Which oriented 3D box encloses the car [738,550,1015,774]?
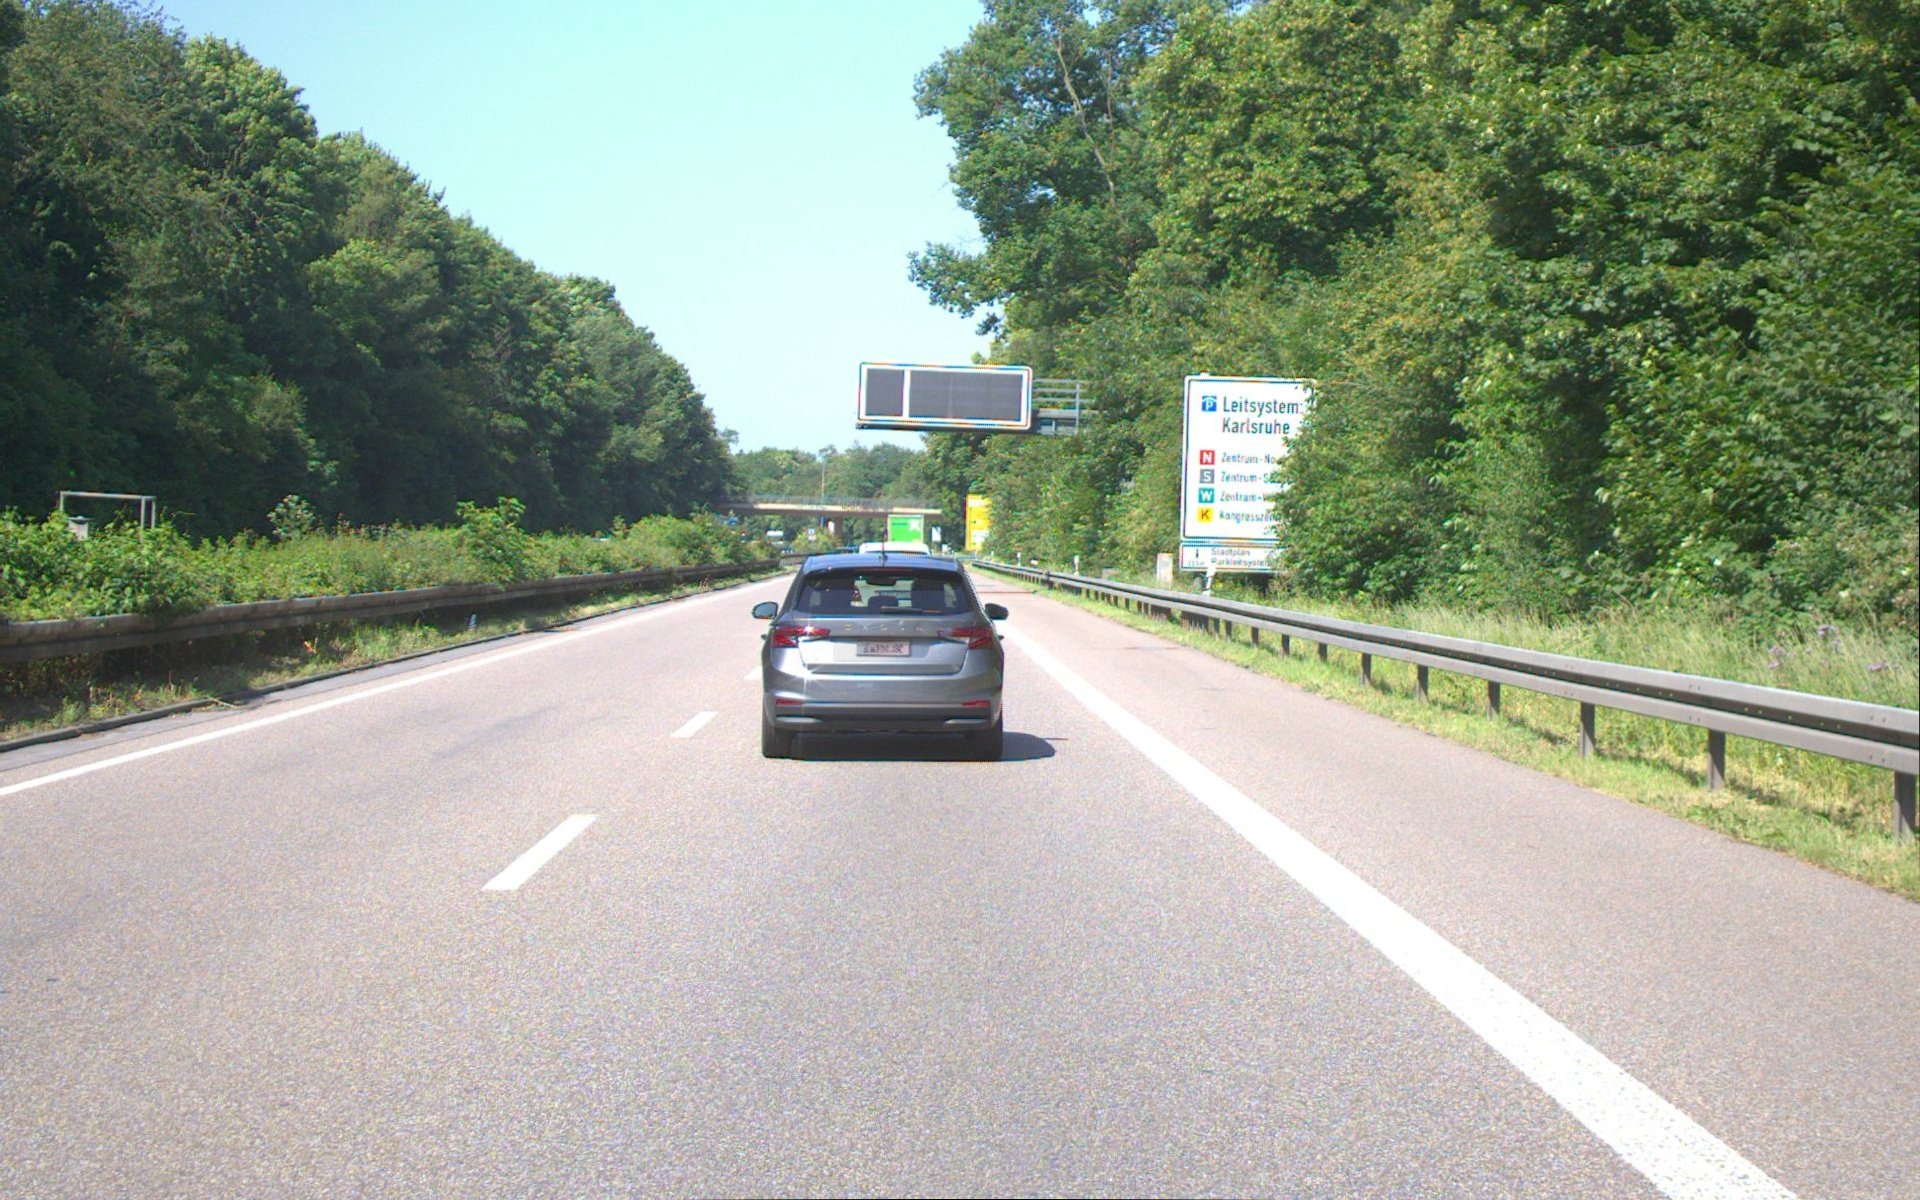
[{"bbox_3d":[-0.533,0.391,24.999,1.840,1.467,3.623,1,1,1],"label":"car"}]

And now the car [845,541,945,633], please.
[{"bbox_3d":[-1.052,-0.239,56.941,1.522,1.442,3.340,1,1,1],"label":"car"}]

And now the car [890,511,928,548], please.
[{"bbox_3d":[-3.697,-5.116,249.451,2.748,2.645,4.000,1,1,-1],"label":"car"}]

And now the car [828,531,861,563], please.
[{"bbox_3d":[-7.394,-3.426,221.204,1.993,2.007,4.000,1,1,-1],"label":"car"}]
